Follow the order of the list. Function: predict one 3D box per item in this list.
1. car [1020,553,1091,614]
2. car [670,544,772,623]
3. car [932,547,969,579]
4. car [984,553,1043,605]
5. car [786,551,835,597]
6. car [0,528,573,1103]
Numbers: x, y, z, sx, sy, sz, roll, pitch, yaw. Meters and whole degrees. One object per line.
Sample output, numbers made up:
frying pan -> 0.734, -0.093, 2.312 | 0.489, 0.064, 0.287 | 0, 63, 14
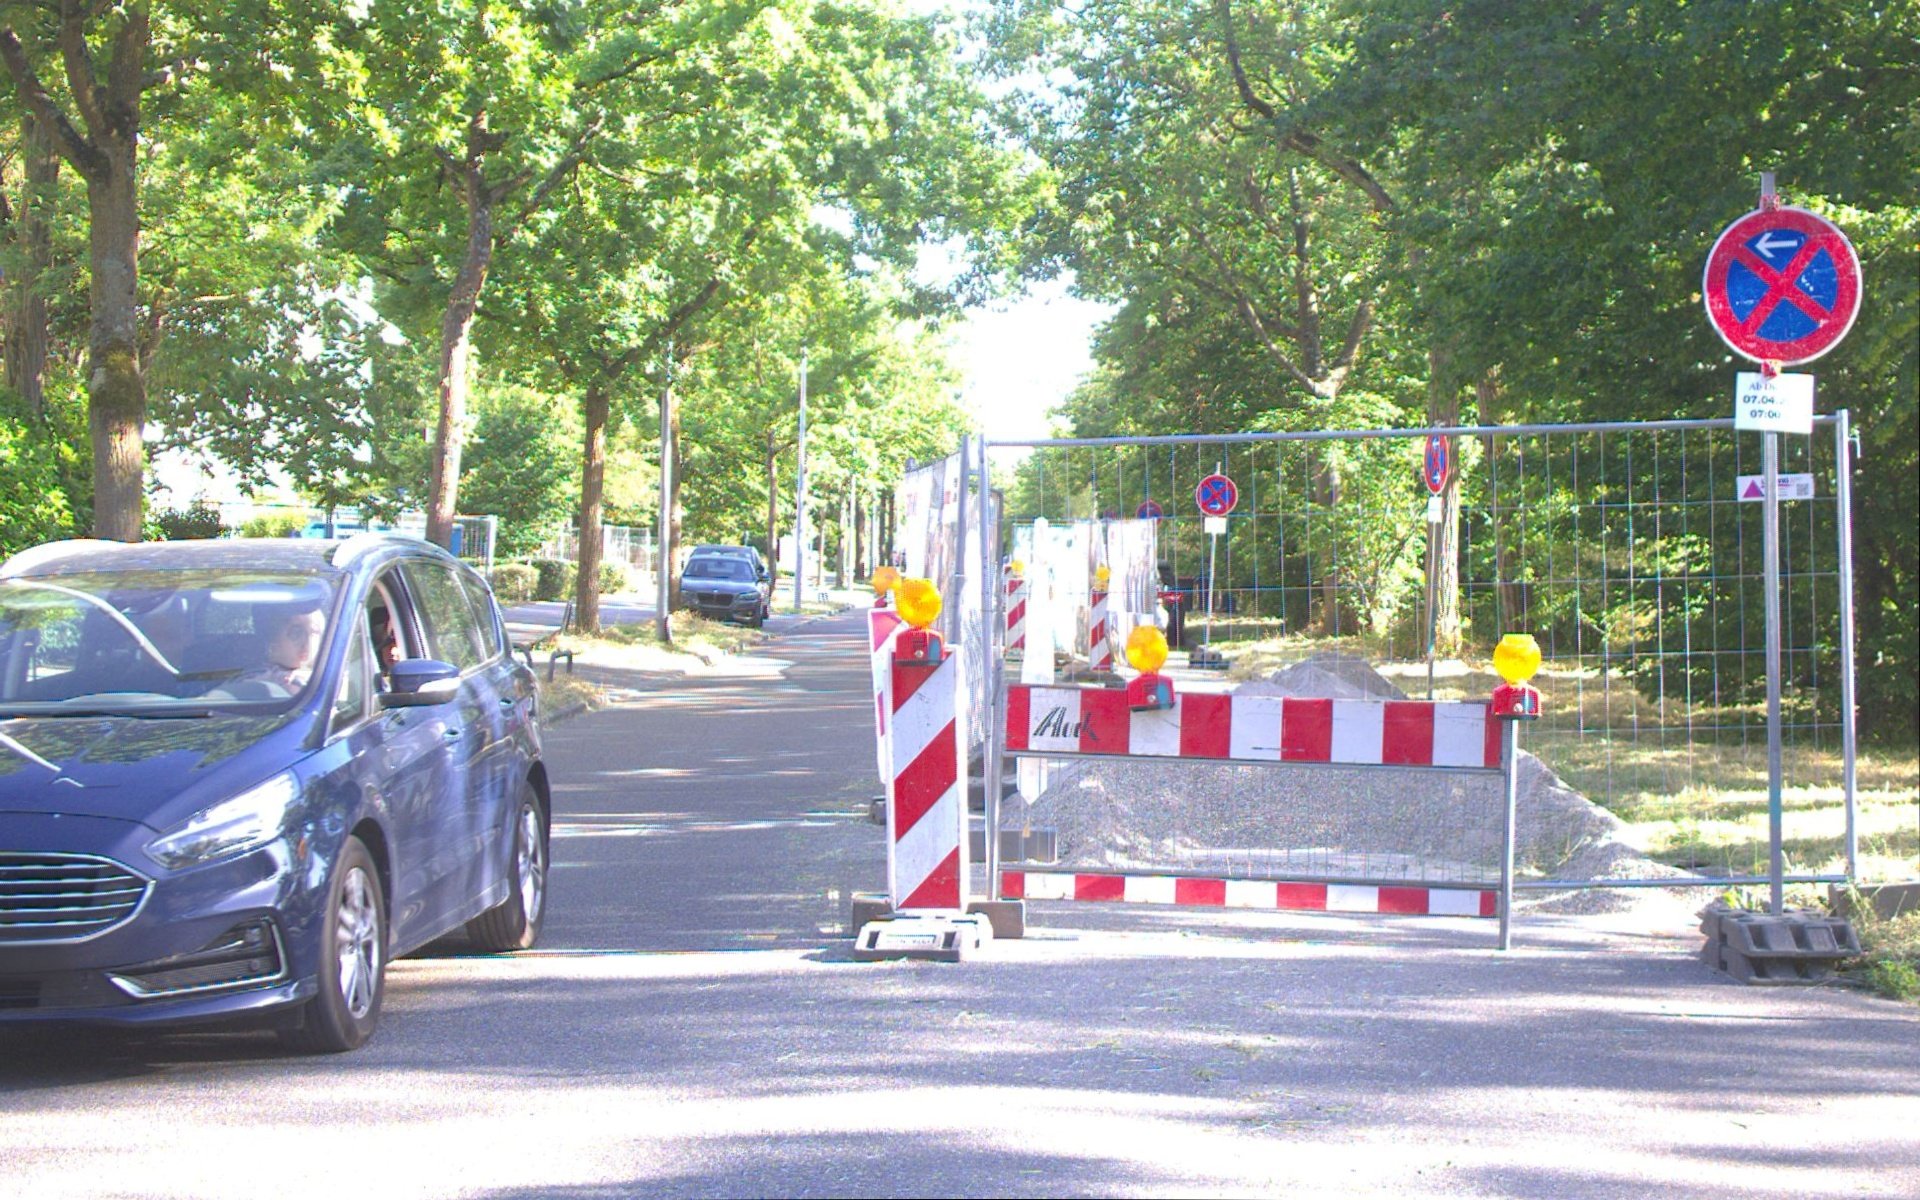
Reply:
car -> 2.132, -0.365, 77.609 | 1.361, 1.298, 3.481 | 2, 0, -2
car -> -4.704, -0.348, 68.098 | 1.751, 1.473, 3.836 | 1, 1, -1
car -> -0.533, -1.959, 182.582 | 1.710, 1.579, 4.000 | 2, 0, -3
car -> 1.390, -0.549, 90.589 | 1.361, 1.298, 3.481 | 2, 0, -2
car -> -4.473, -0.774, 103.238 | 1.361, 1.298, 3.481 | 2, 0, -2
car -> -2.665, 0.586, 12.014 | 1.821, 1.619, 4.492 | -1, 1, 4
